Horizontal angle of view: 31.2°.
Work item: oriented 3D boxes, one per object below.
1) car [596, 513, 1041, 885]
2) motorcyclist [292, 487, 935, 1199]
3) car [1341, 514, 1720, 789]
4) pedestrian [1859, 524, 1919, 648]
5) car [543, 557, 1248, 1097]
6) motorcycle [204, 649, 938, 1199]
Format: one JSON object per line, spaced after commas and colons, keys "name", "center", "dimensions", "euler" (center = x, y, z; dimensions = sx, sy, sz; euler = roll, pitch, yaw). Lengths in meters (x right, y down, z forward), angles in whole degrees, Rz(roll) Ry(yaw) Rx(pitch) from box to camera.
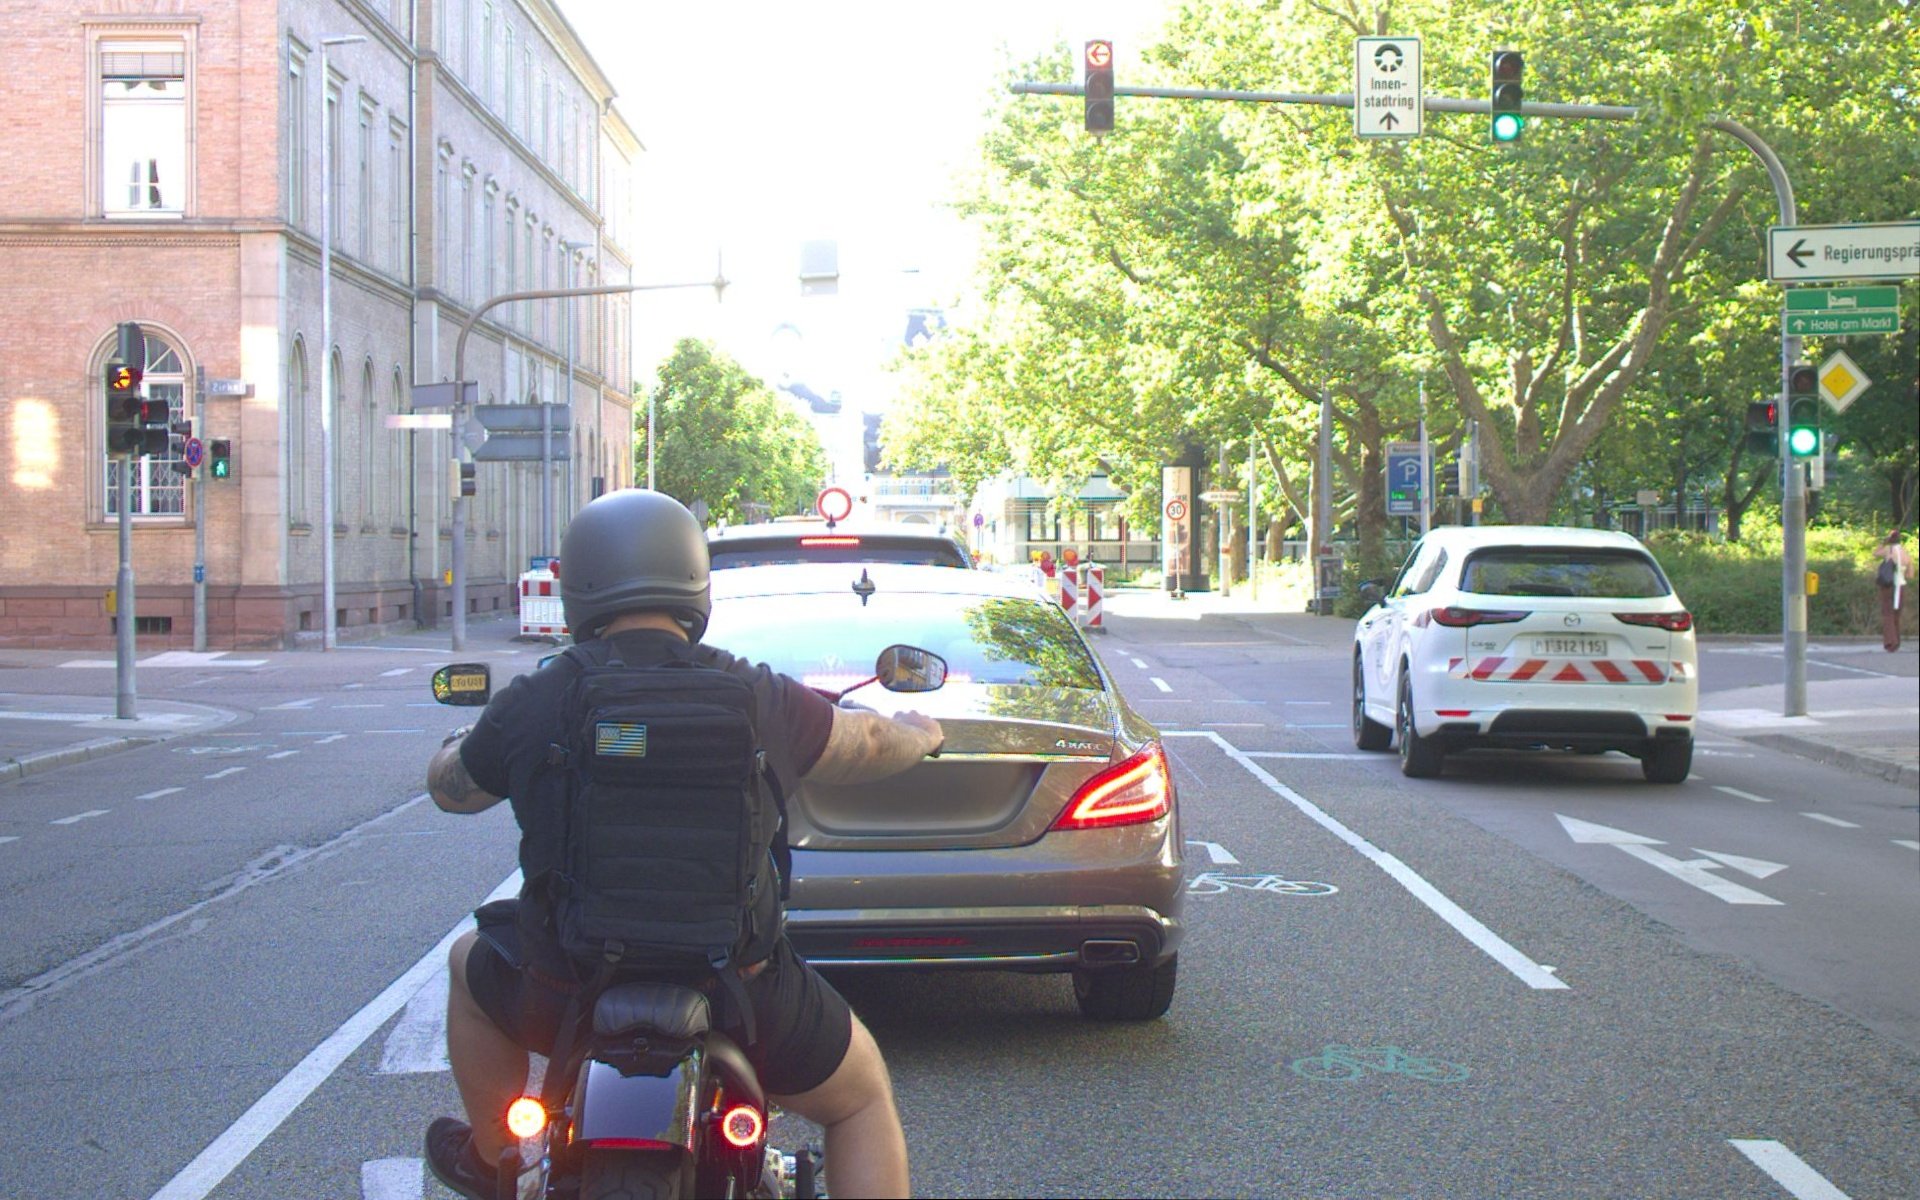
{"name": "car", "center": [-0.664, 0.429, 17.569], "dimensions": [1.993, 1.660, 4.000], "euler": [1, 1, -1]}
{"name": "motorcyclist", "center": [-0.535, 0.602, 5.881], "dimensions": [0.980, 1.573, 1.248], "euler": [0, 1, -1]}
{"name": "car", "center": [3.879, 0.282, 24.115], "dimensions": [1.943, 1.702, 4.483], "euler": [1, 1, 1]}
{"name": "pedestrian", "center": [13.345, -0.206, 49.402], "dimensions": [0.678, 1.766, 0.616], "euler": [1, 0, 29]}
{"name": "car", "center": [-0.430, 0.587, 11.647], "dimensions": [1.869, 1.439, 4.431], "euler": [0, 1, -8]}
{"name": "motorcycle", "center": [-0.533, 0.758, 5.807], "dimensions": [0.980, 1.271, 2.407], "euler": [0, 1, -1]}
